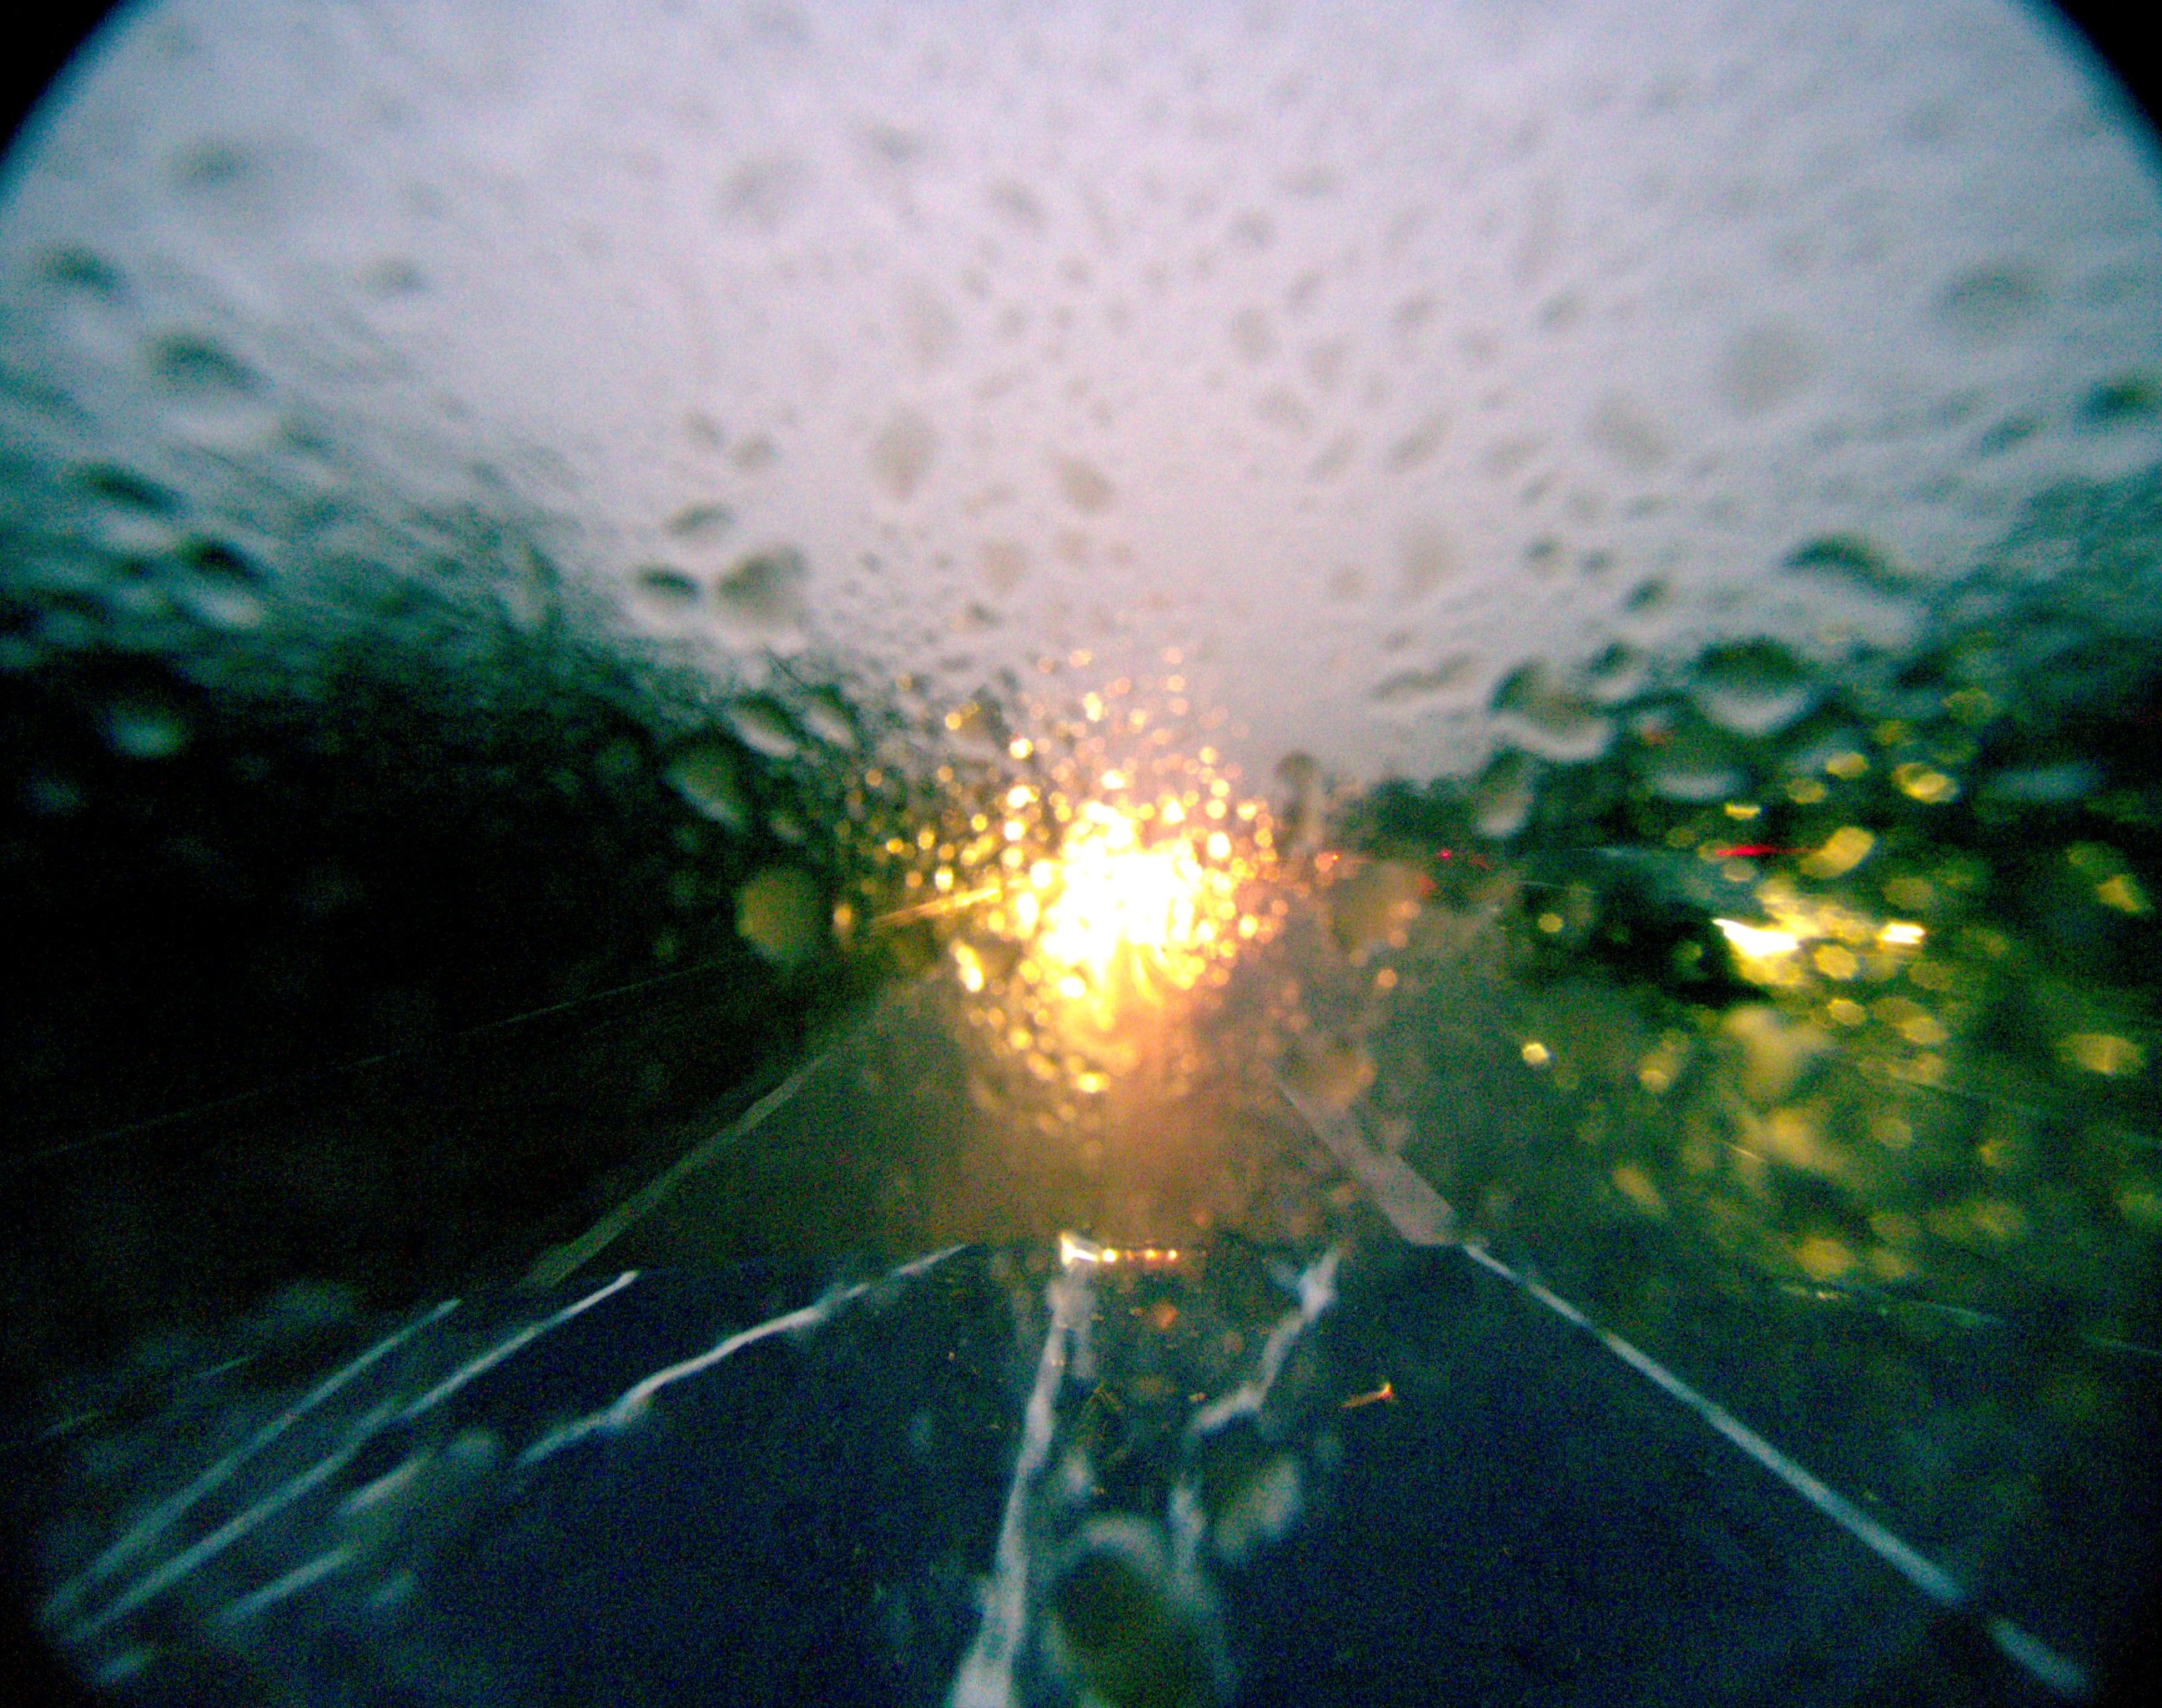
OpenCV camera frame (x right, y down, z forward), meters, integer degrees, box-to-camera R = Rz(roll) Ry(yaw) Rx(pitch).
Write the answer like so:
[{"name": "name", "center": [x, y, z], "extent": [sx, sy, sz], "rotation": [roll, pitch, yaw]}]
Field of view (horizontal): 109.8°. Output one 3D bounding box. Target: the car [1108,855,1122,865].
[{"name": "car", "center": [4.343, 0.754, 96.794], "extent": [1.482, 1.198, 3.350], "rotation": [-3, 0, 6]}]

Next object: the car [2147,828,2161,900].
[{"name": "car", "center": [21.493, 0.233, 12.367], "extent": [1.578, 1.368, 4.781], "rotation": [-3, 2, 0]}]

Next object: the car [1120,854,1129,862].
[{"name": "car", "center": [7.513, 0.639, 130.965], "extent": [1.482, 1.198, 3.350], "rotation": [-3, 0, 4]}]

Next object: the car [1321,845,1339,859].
[{"name": "car", "center": [29.052, -0.227, 88.446], "extent": [1.745, 1.478, 4.005], "rotation": [-3, 0, 21]}]

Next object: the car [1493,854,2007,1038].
[{"name": "car", "center": [6.848, 0.782, 8.609], "extent": [1.803, 1.459, 4.413], "rotation": [-3, 0, -2]}]

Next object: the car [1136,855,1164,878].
[{"name": "car", "center": [4.563, 0.841, 50.701], "extent": [1.654, 1.502, 3.876], "rotation": [0, -1, 2]}]

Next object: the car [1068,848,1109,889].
[{"name": "car", "center": [0.460, 0.735, 39.742], "extent": [1.998, 2.002, 3.964], "rotation": [-1, 0, 2]}]

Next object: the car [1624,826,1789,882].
[{"name": "car", "center": [17.776, -0.055, 21.847], "extent": [1.578, 1.368, 3.841], "rotation": [-3, 2, 0]}]
